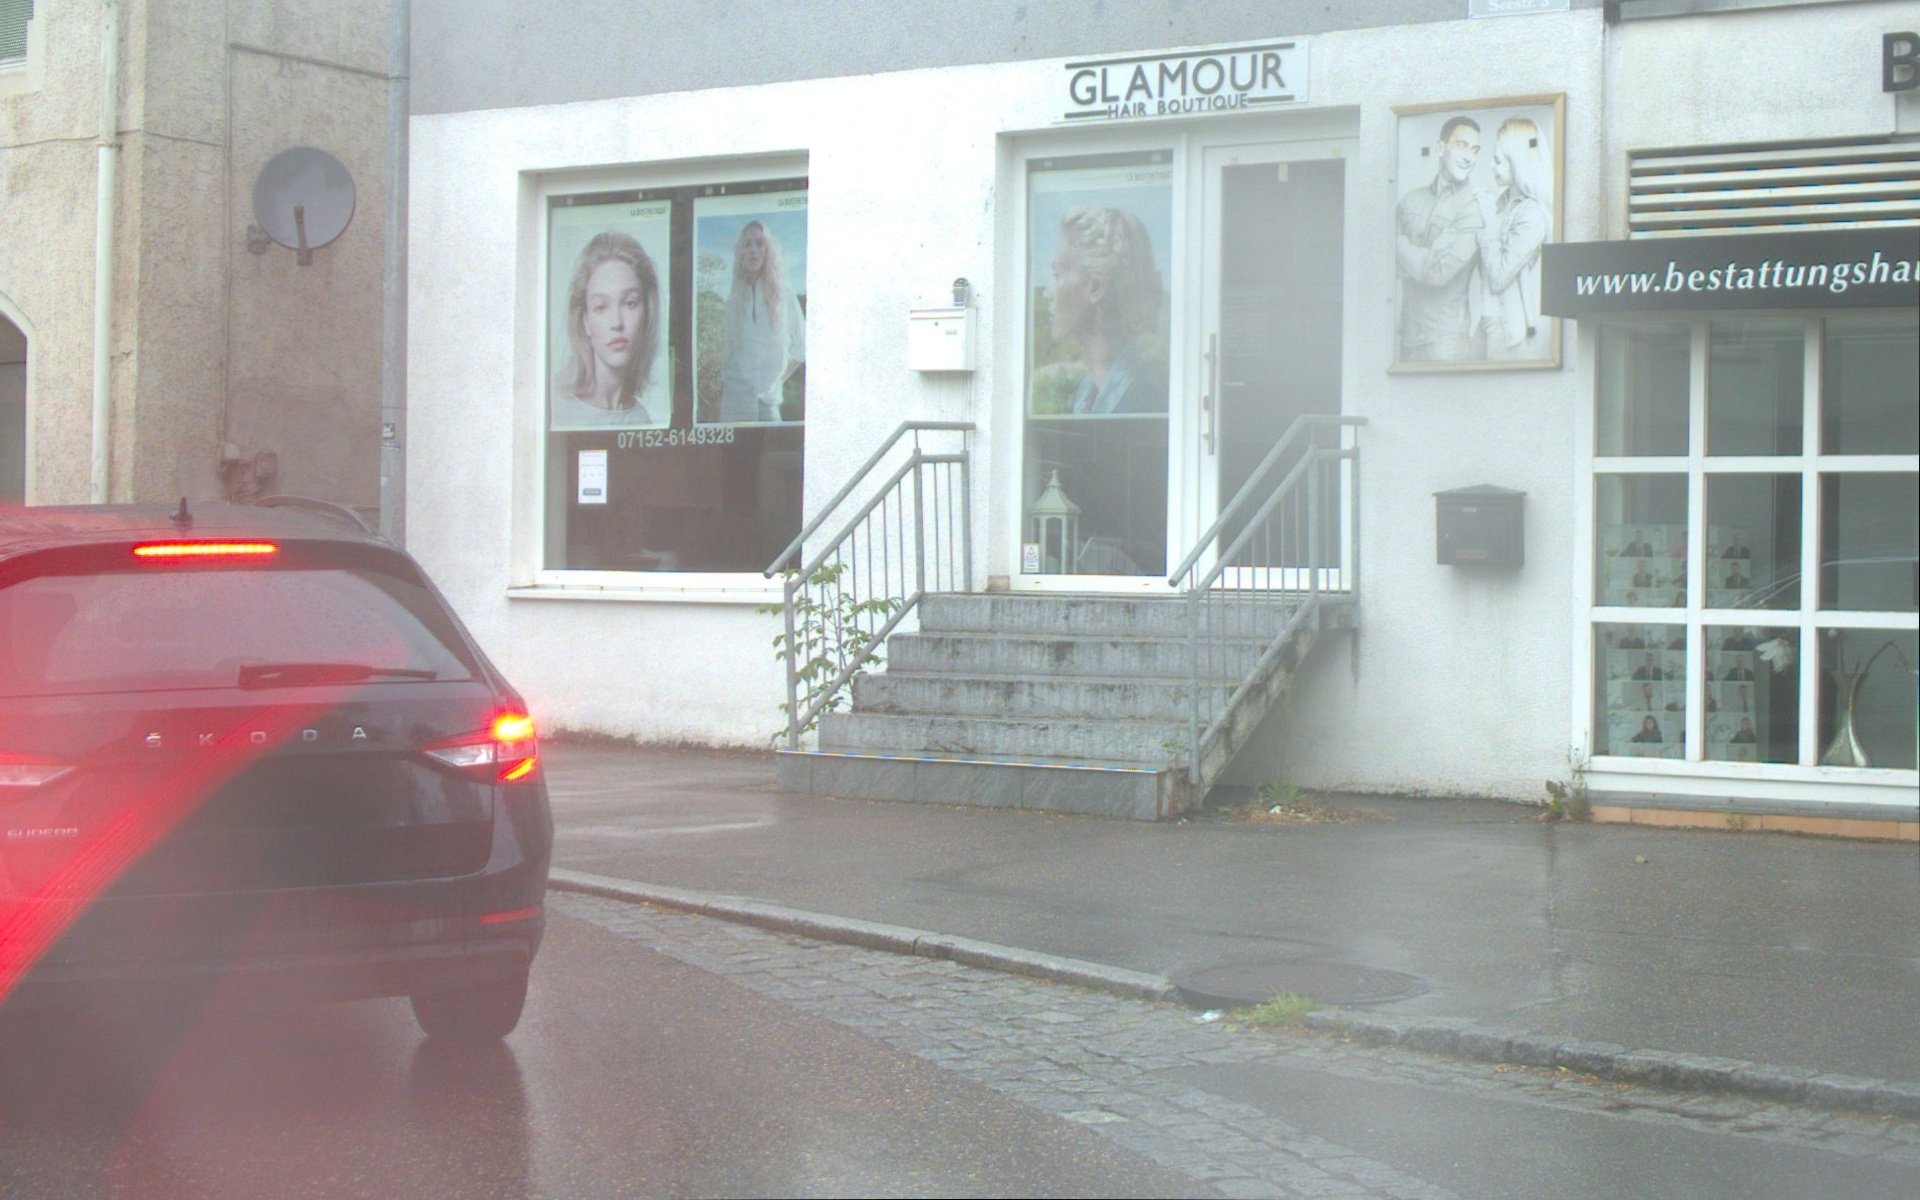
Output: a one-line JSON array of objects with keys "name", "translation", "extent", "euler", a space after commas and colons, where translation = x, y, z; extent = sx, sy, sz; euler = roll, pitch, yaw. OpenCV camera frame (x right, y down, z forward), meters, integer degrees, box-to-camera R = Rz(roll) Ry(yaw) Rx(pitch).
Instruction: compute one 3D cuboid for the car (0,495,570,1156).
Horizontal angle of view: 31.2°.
[{"name": "car", "translation": [-2.569, 0.451, 9.983], "extent": [1.732, 1.445, 4.243], "euler": [-1, 3, -23]}]
